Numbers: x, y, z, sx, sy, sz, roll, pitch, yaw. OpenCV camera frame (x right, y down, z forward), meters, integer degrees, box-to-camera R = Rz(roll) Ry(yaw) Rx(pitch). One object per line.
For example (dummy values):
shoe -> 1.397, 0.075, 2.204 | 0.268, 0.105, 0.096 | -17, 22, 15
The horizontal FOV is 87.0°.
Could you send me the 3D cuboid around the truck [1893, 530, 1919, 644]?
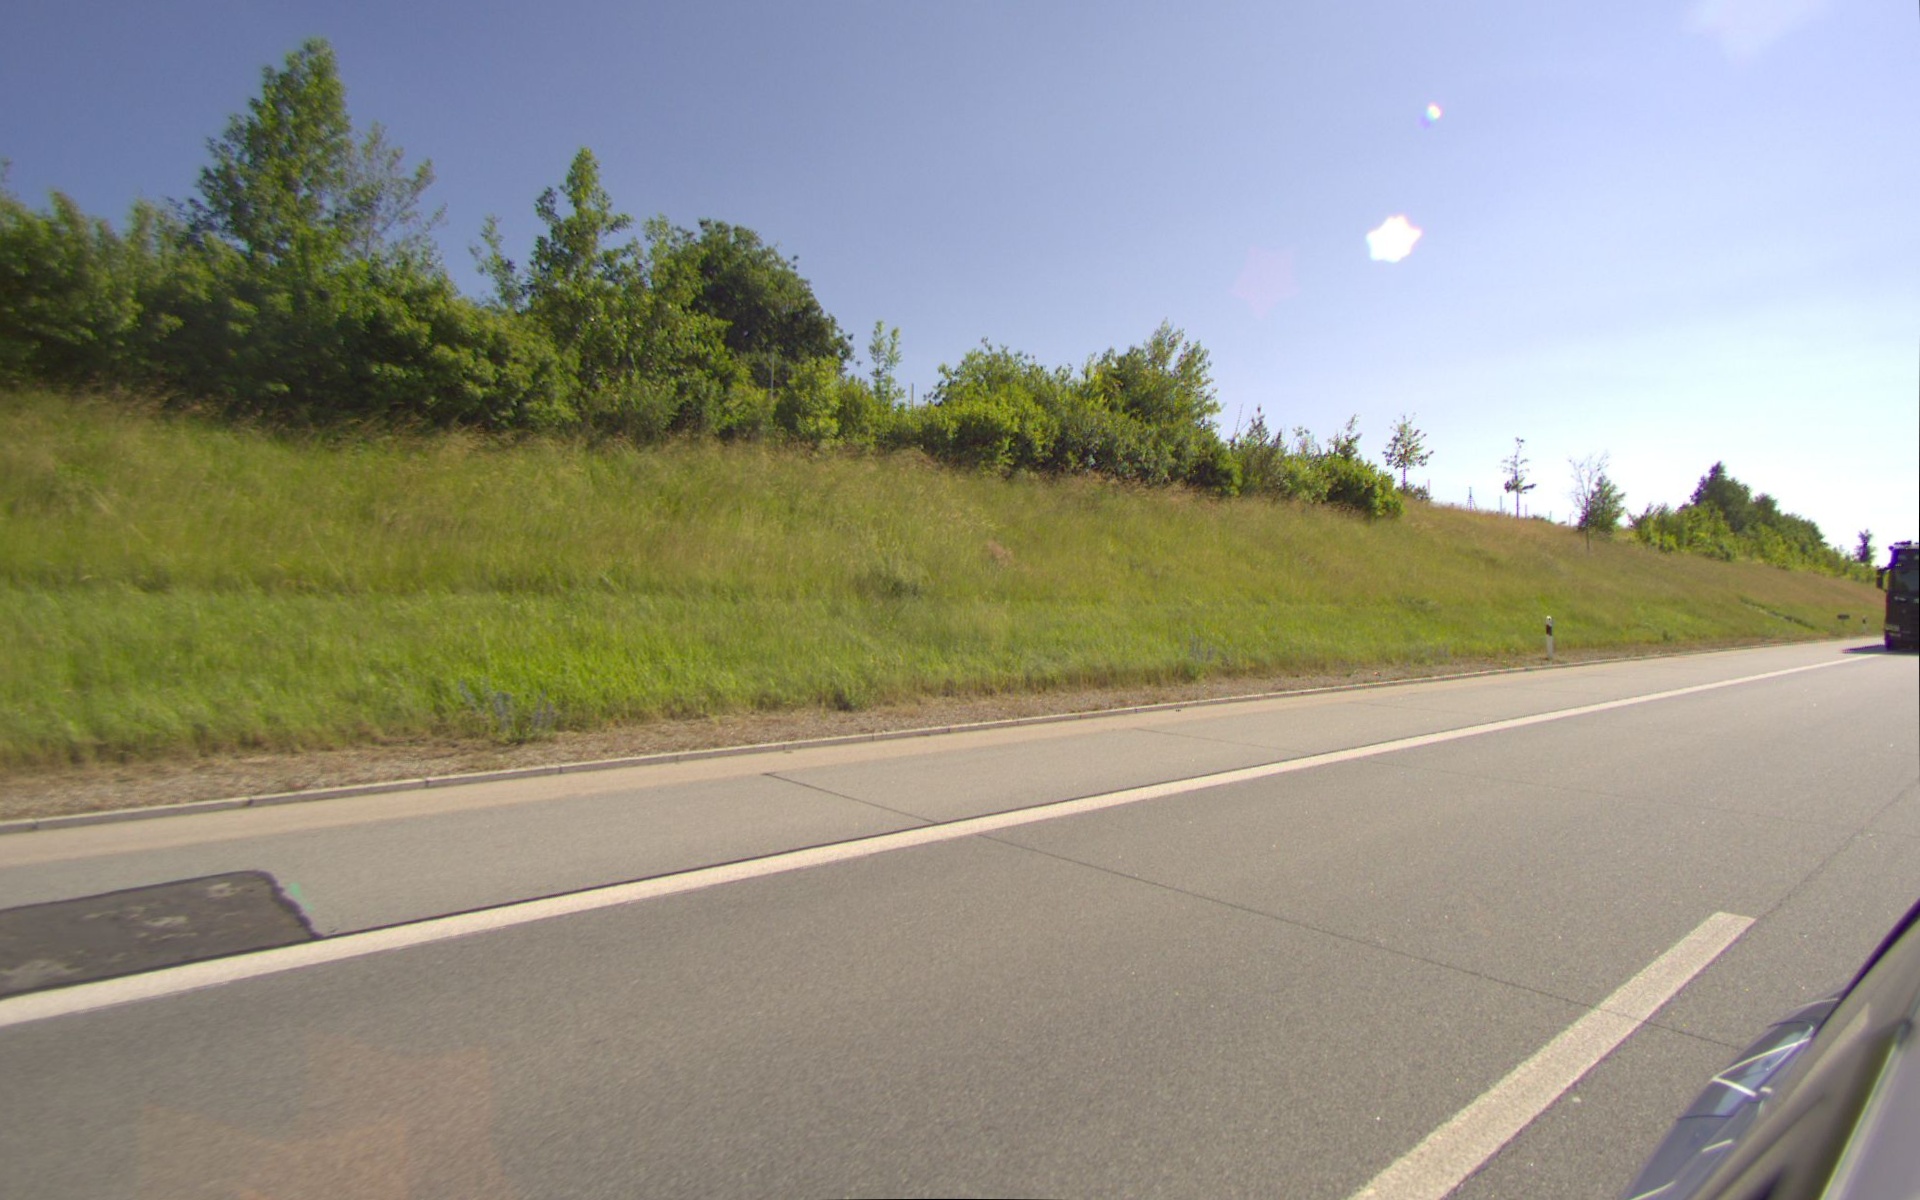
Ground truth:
truck -> 37.893, -0.414, 37.870 | 13.162, 3.866, 2.622 | 0, 0, -40
